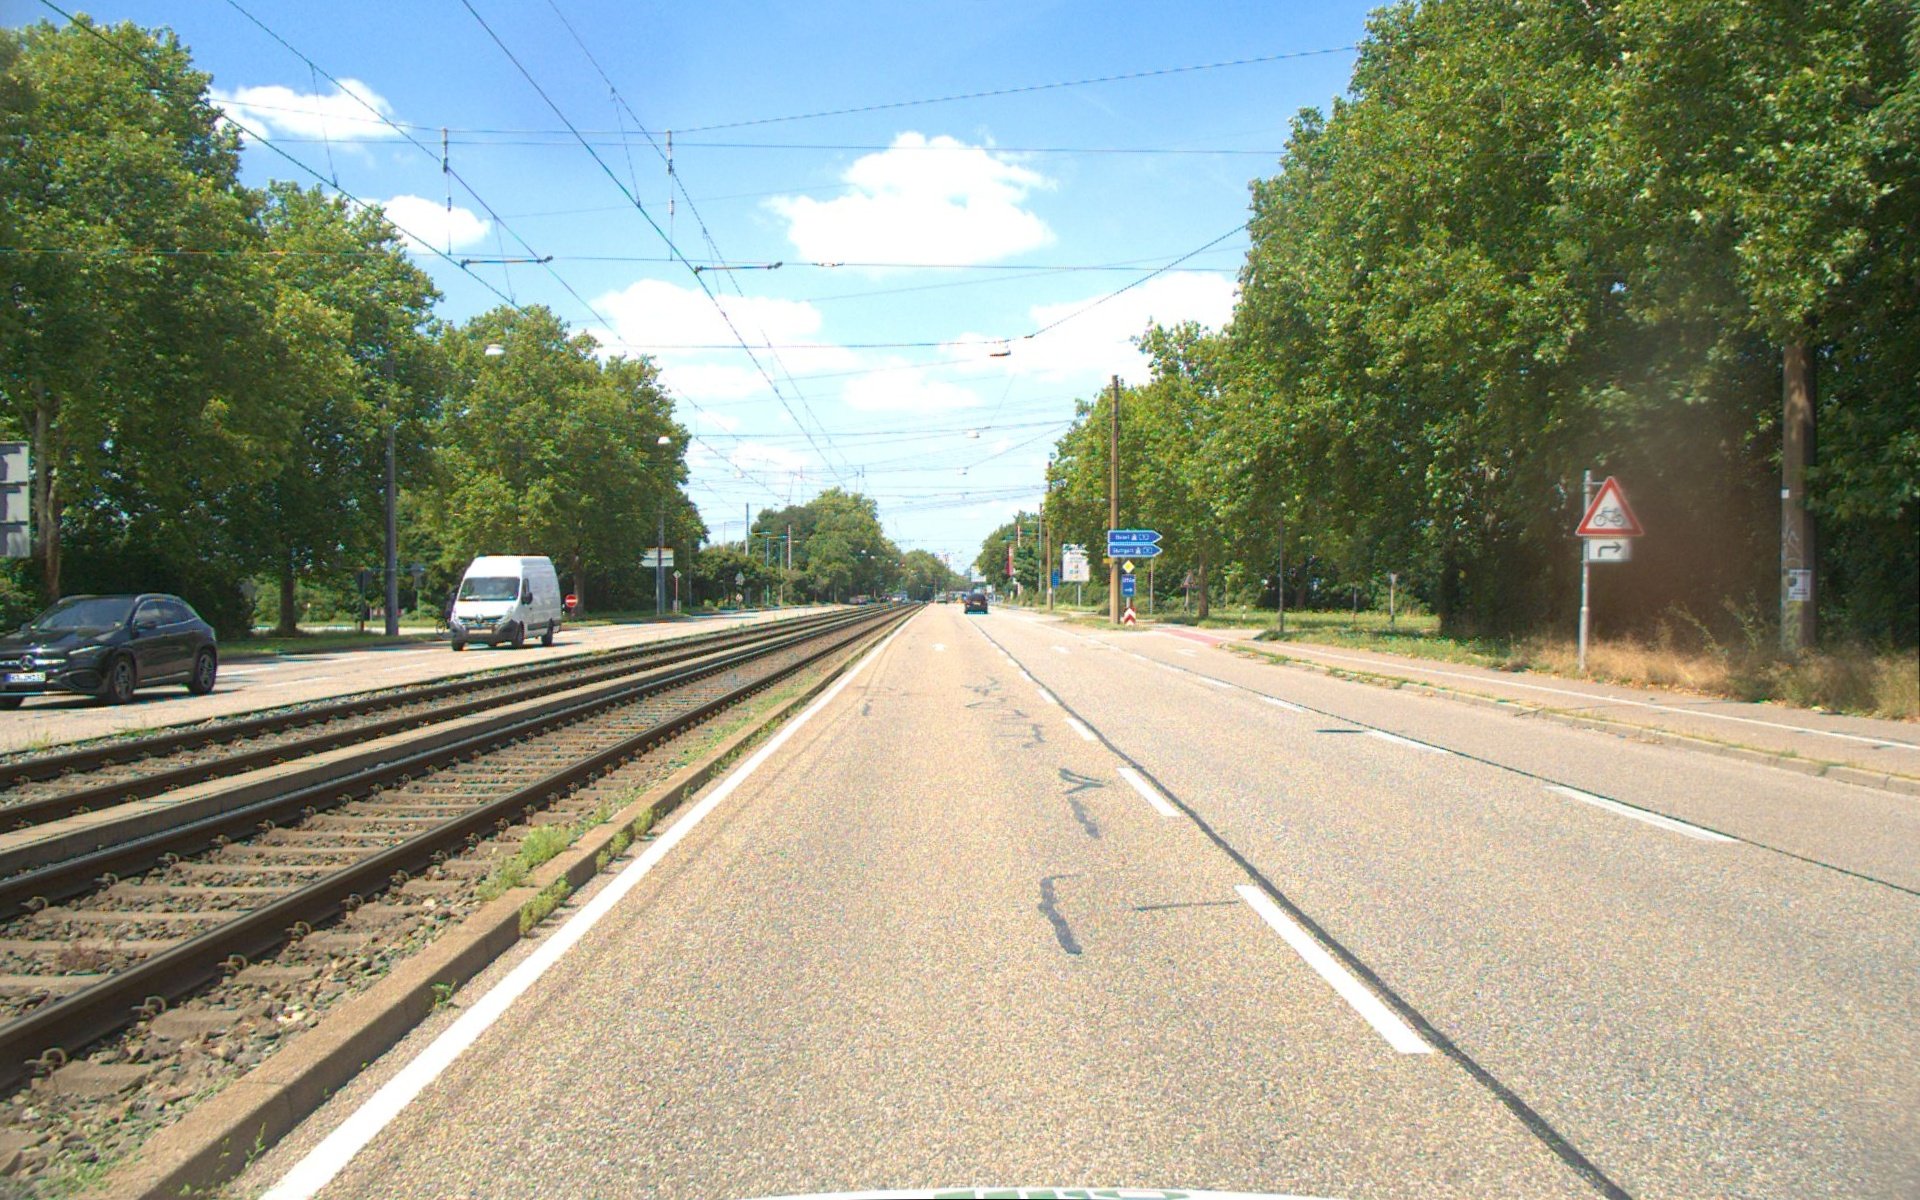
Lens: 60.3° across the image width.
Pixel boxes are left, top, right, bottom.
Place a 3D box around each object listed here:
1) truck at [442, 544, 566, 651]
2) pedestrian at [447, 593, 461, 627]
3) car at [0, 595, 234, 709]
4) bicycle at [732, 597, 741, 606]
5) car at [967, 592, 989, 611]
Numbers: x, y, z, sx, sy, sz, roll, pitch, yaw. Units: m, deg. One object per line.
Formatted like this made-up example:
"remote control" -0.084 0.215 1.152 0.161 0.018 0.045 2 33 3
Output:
"truck" -13.739 -0.096 50.286 2.012 2.990 6.318 -1 0 -1
"pedestrian" -24.299 0.476 79.476 0.503 1.578 0.703 -1 0 -6
"car" -12.900 0.711 25.132 1.781 1.541 4.427 -1 0 -1
"bicycle" -21.412 0.146 158.664 0.505 0.872 1.932 -1 0 2
"car" 1.365 0.122 127.399 1.554 1.366 3.271 -1 1 -2
